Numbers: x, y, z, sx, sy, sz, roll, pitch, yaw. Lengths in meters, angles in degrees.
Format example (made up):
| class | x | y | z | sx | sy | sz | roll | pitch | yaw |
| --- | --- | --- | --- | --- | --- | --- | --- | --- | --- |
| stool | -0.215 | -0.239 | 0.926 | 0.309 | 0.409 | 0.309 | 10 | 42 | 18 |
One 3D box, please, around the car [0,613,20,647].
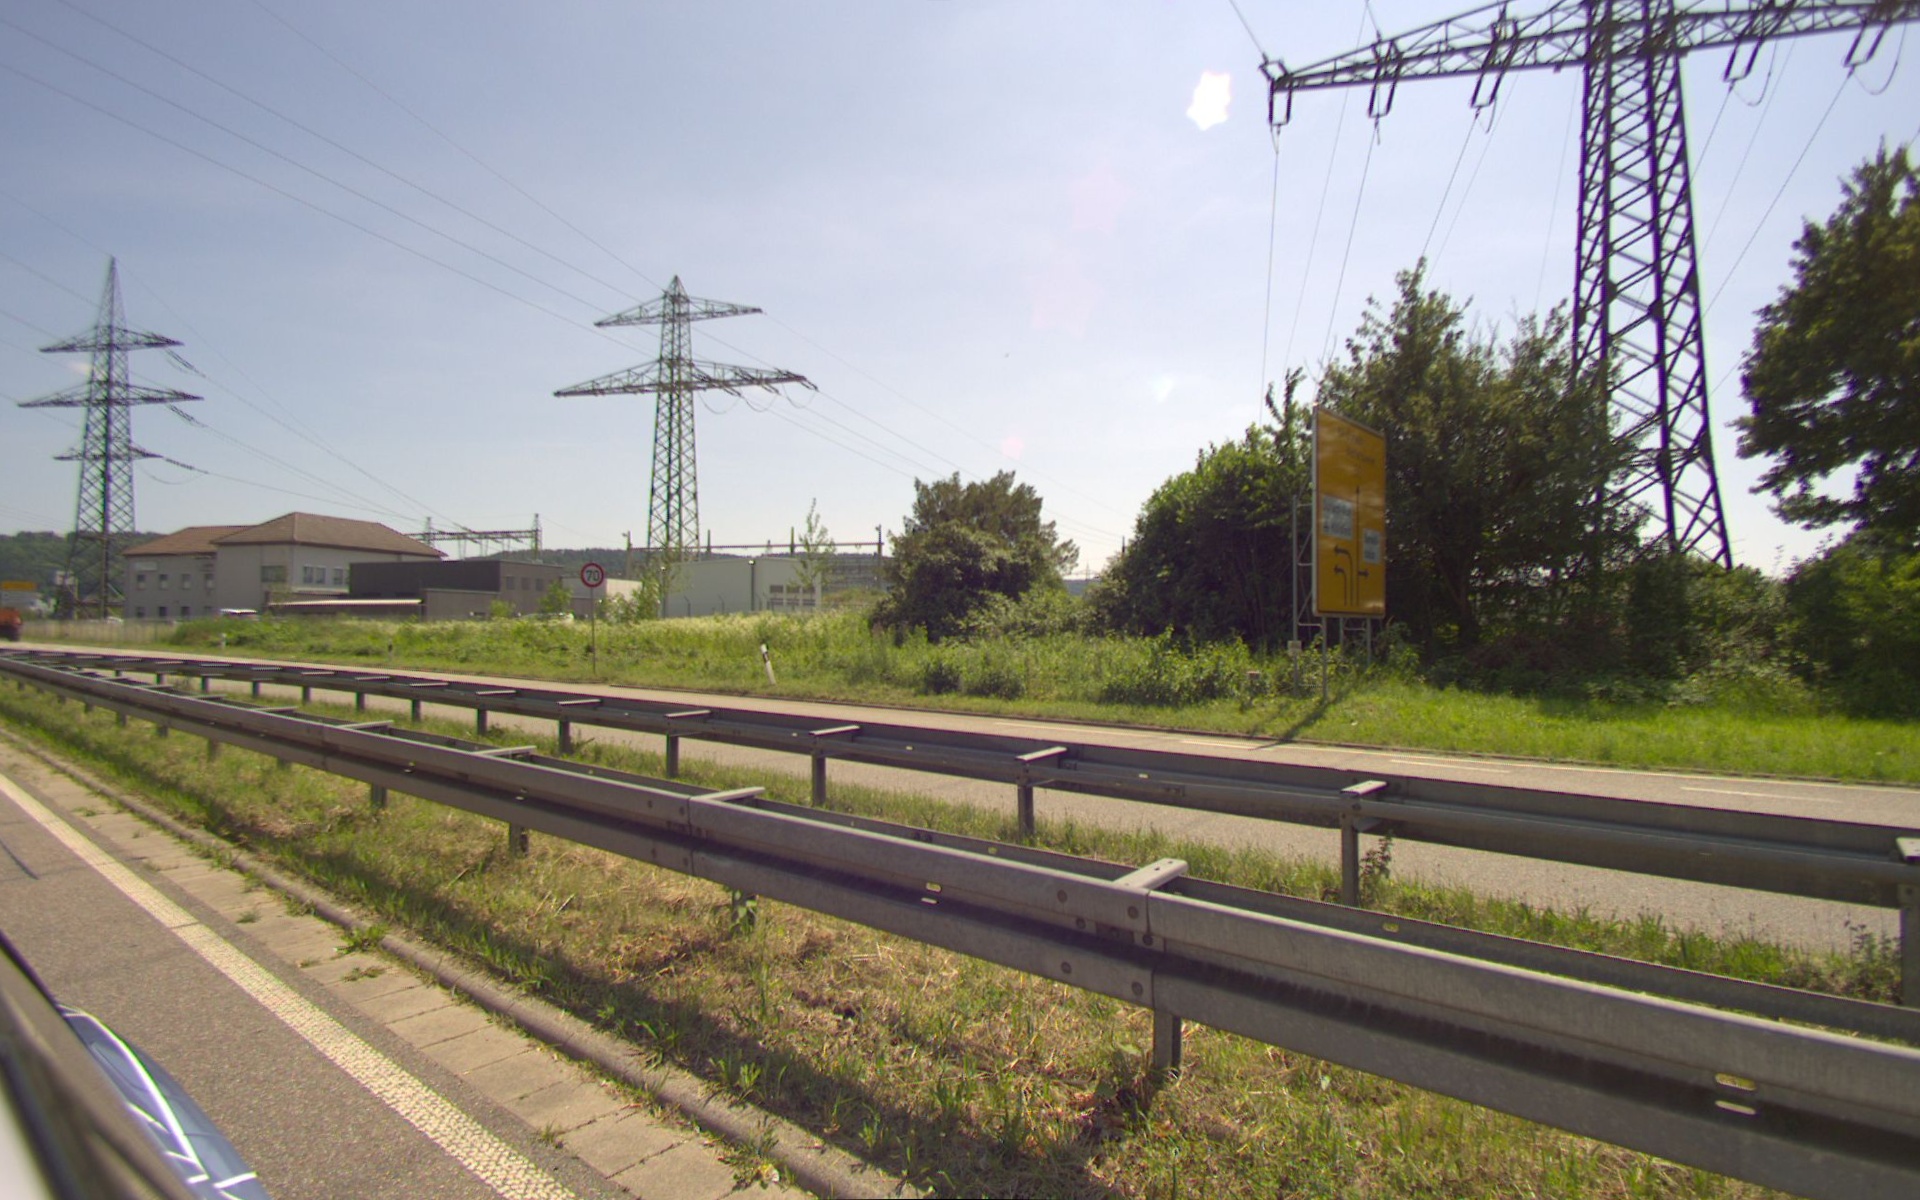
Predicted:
| class | x | y | z | sx | sy | sz | roll | pitch | yaw |
| --- | --- | --- | --- | --- | --- | --- | --- | --- | --- |
| car | -88.704 | 2.724 | 93.083 | 5.634 | 3.084 | 2.574 | -1 | -3 | 40 |
